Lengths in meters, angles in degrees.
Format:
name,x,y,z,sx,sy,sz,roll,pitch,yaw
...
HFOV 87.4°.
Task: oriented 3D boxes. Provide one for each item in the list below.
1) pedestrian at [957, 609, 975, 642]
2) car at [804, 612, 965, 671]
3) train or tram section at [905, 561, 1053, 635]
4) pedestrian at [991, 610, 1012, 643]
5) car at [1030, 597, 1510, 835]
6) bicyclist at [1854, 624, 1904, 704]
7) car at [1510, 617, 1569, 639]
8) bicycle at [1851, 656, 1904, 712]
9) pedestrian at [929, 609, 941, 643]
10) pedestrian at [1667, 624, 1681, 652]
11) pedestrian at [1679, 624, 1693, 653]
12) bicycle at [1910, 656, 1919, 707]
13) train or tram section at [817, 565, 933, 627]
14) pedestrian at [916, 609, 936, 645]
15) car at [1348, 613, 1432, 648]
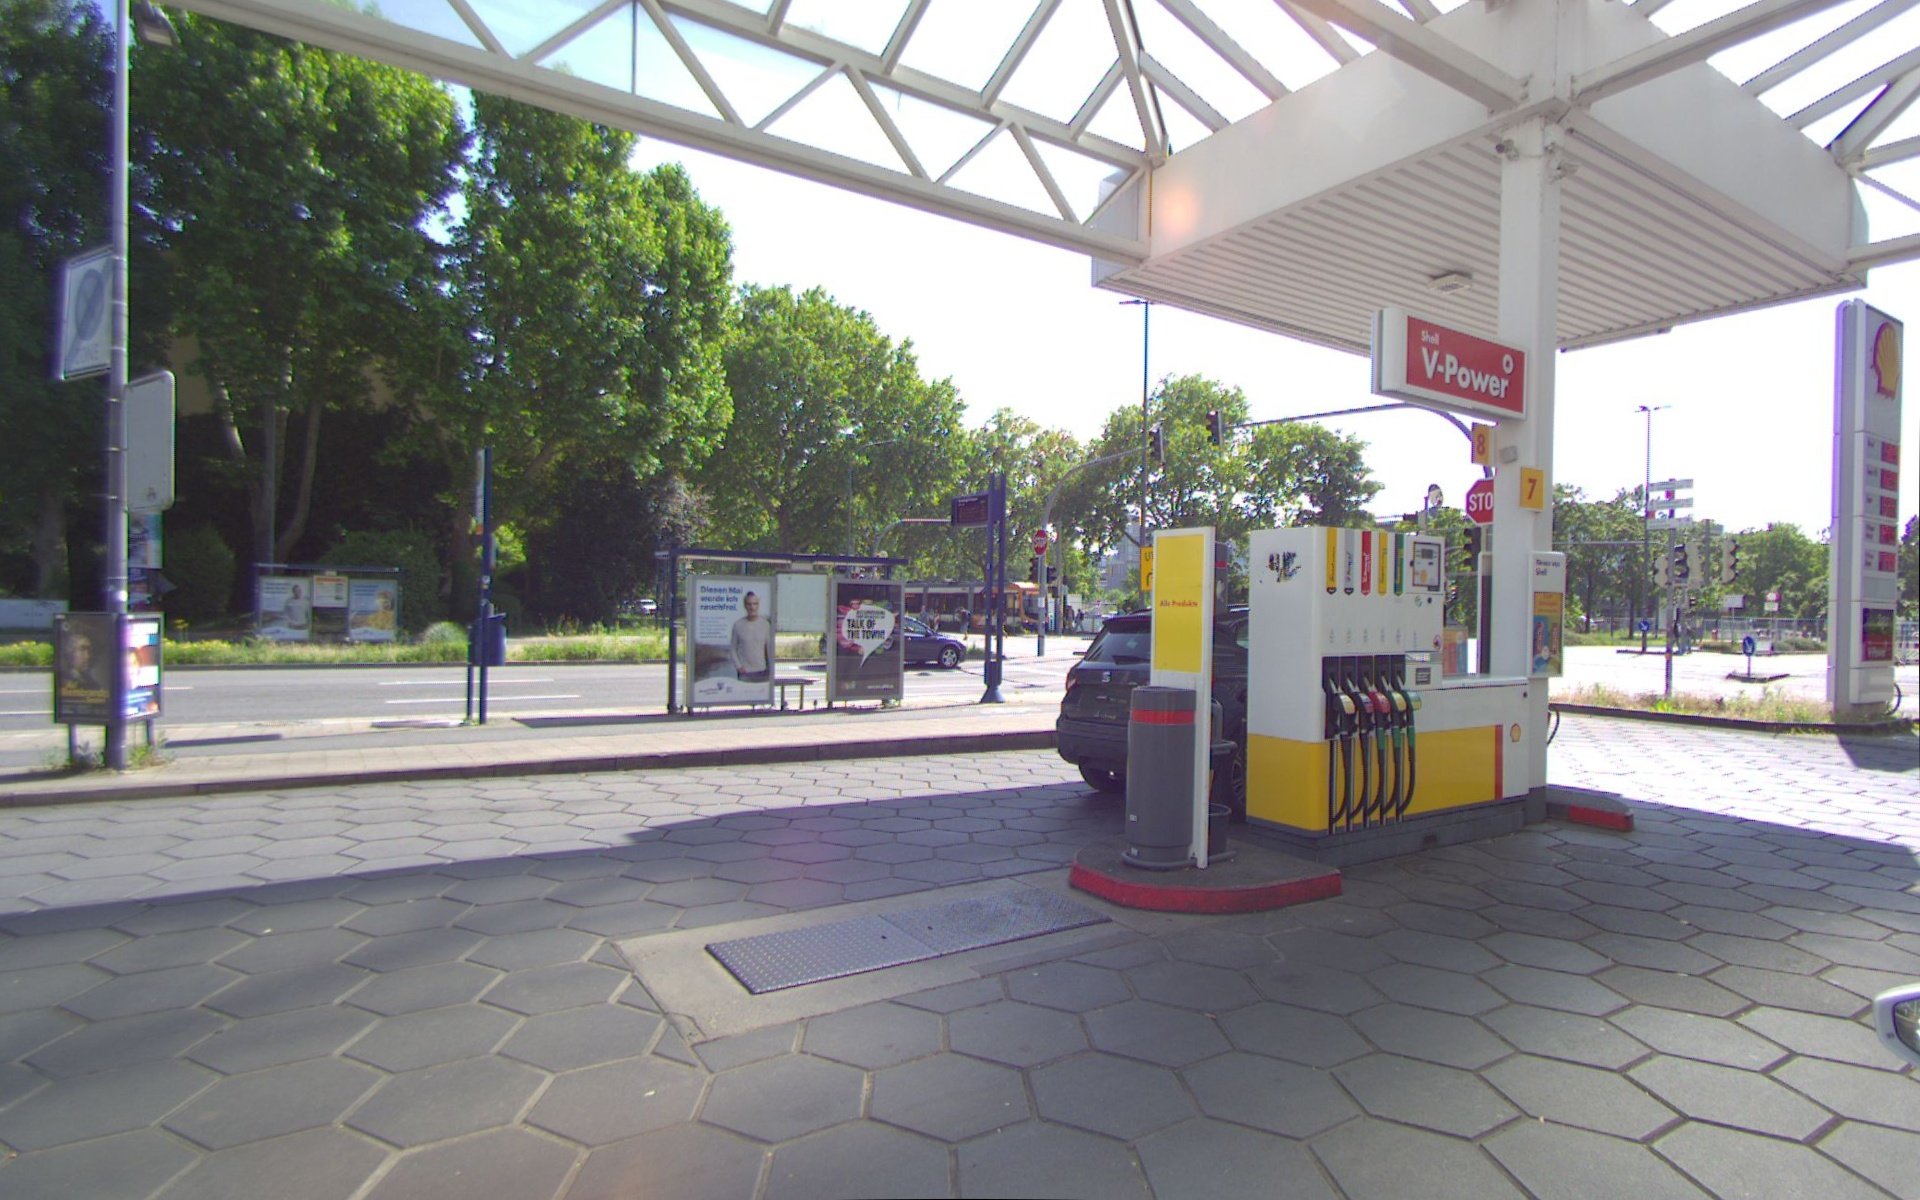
name,x,y,z,sx,sy,sz,roll,pitch,yaw
pedestrian,0.323,1.351,52.382,0.778,1.696,0.555,2,-2,-37
car,-1.992,1.098,26.841,3.959,1.385,1.670,2,1,-33
train or tram section,0.902,-0.144,69.024,2.303,4.549,14.810,2,-1,-32
pedestrian,2.229,1.432,53.889,0.864,1.746,0.678,2,-3,-44
car,2.683,0.832,8.405,3.958,1.552,1.733,2,-2,-33
bicyclist,19.249,1.315,21.033,1.164,1.601,0.632,1,0,-42
car,49.585,2.397,85.997,1.975,1.839,3.972,2,-2,-28
bicycle,19.241,1.734,21.051,2.011,1.096,0.632,2,-1,-42
pedestrian,-1.466,1.544,59.144,0.691,2.013,0.741,1,-2,-2
pedestrian,39.032,2.063,54.897,0.555,1.488,0.512,1,0,33
pedestrian,38.800,2.059,53.654,0.555,1.488,0.512,1,0,33
bicycle,20.902,1.780,21.215,0.514,1.096,1.867,1,0,21
train or tram section,-7.271,-0.291,81.960,2.303,4.549,15.783,2,-1,-32
pedestrian,-1.777,1.419,52.321,0.759,1.881,0.723,-1,-2,29
car,25.695,1.832,60.157,4.357,2.040,2.002,0,-2,13
